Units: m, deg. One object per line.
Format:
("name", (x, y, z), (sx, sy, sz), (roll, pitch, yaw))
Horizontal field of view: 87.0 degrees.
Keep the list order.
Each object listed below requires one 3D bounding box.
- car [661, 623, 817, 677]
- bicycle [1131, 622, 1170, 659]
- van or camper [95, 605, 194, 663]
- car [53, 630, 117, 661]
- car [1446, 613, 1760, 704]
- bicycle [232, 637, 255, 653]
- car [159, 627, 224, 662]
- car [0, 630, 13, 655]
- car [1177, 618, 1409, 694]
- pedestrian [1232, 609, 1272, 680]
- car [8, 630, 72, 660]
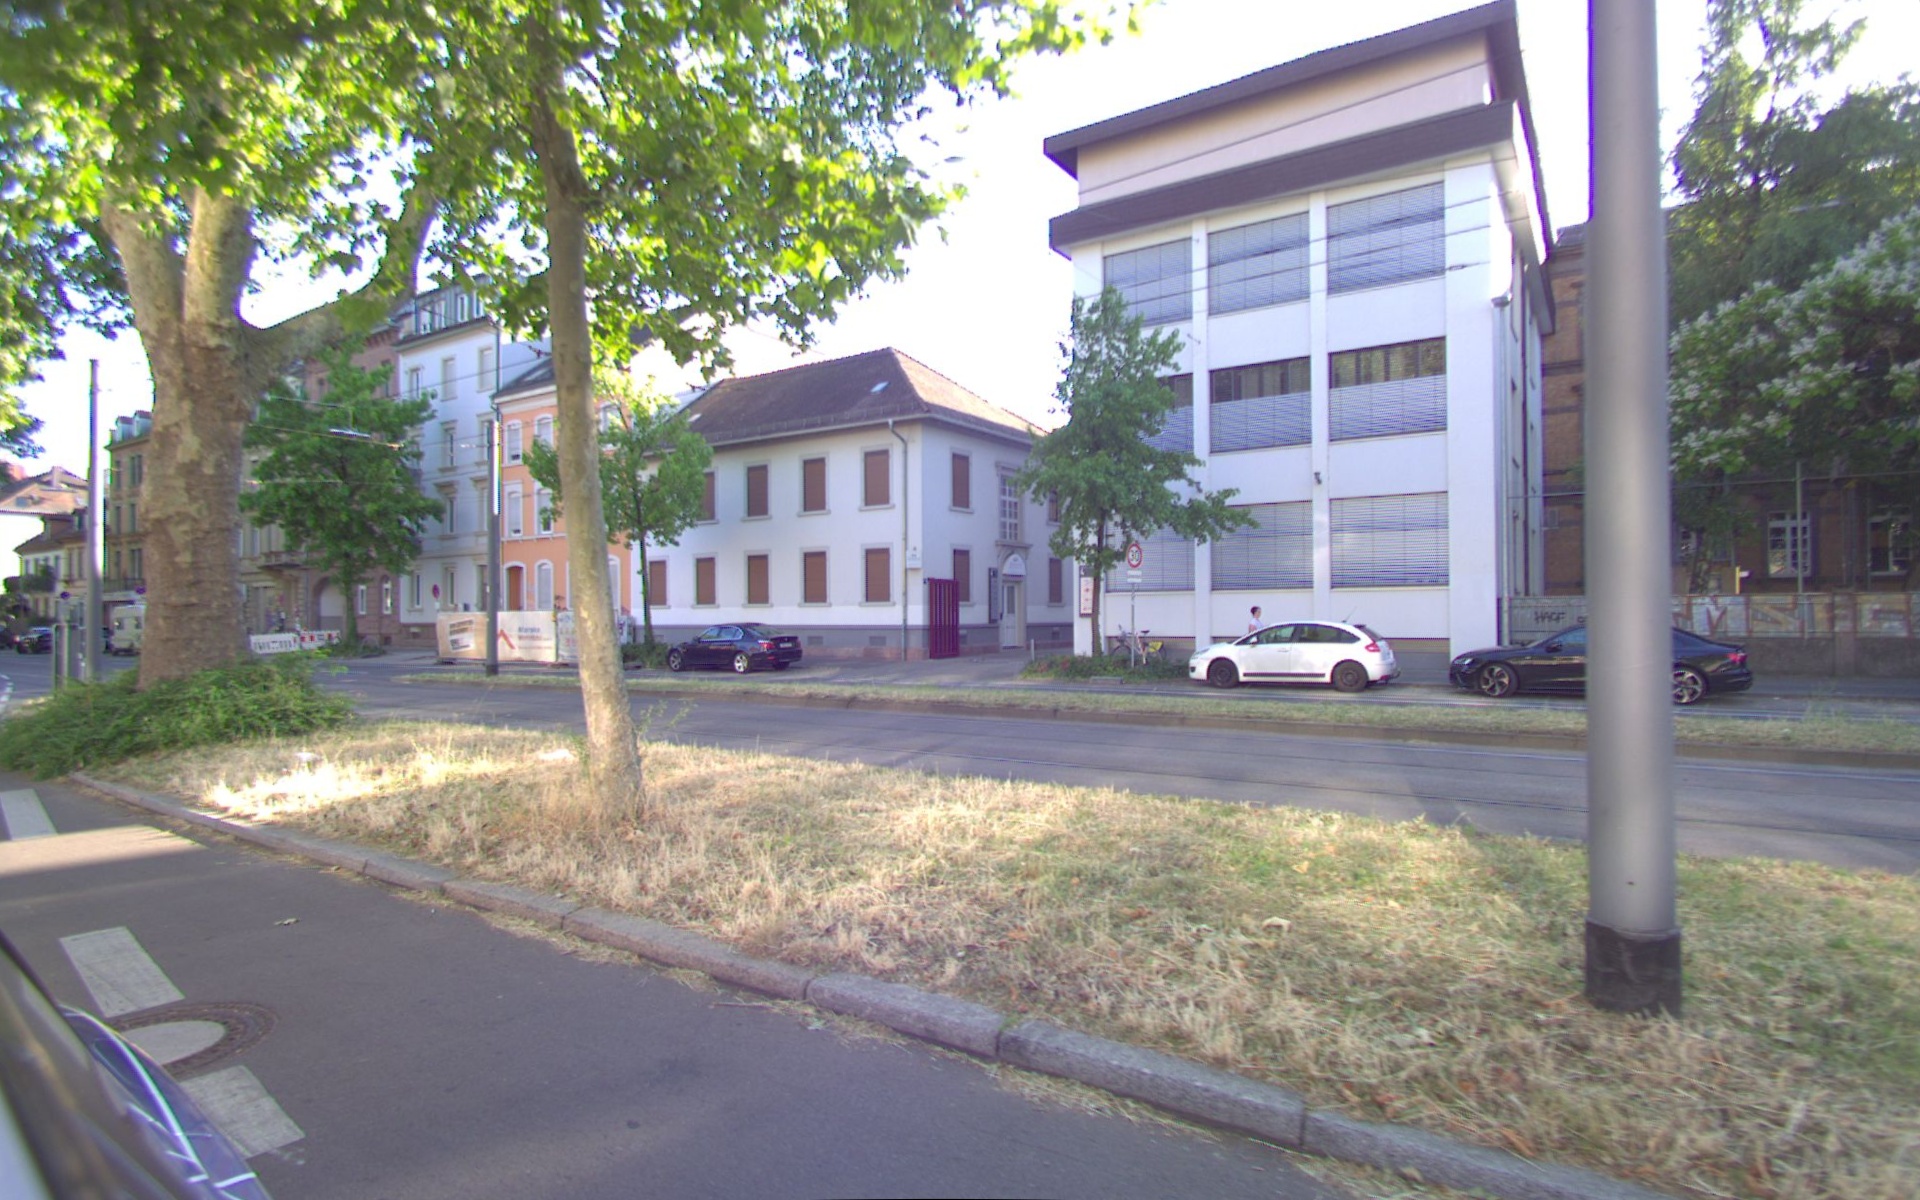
("car", (-6.781, 1.484, 30.897), (4.712, 1.525, 1.977), (-2, -2, 34))
("bicycle", (5.290, 1.133, 28.080), (1.016, 1.010, 0.300), (-2, -2, 33))
("van or camper", (-45.964, 1.875, 56.956), (7.235, 2.969, 2.398), (-2, 2, 36))
("car", (-53.779, 2.771, 62.186), (4.430, 1.718, 1.796), (-2, 2, 34))
("car", (11.635, 1.015, 18.637), (4.635, 1.487, 1.978), (-2, -2, 33))
("bicycle", (-41.777, 2.619, 59.032), (1.788, 0.931, 0.573), (-2, -2, 37))
("car", (-40.701, 2.358, 53.582), (3.359, 1.718, 1.618), (-1, 1, 32))
("car", (-70.328, 3.124, 73.315), (3.617, 1.759, 1.710), (-2, 2, 35))
("car", (7.117, 1.151, 21.787), (4.392, 1.482, 1.978), (-2, -2, 33))
("pedestrian", (6.885, 1.033, 23.821), (0.729, 1.633, 0.630), (-1, -1, 33))
("car", (-60.298, 2.933, 66.308), (4.737, 1.715, 1.978), (-2, 2, 34))
